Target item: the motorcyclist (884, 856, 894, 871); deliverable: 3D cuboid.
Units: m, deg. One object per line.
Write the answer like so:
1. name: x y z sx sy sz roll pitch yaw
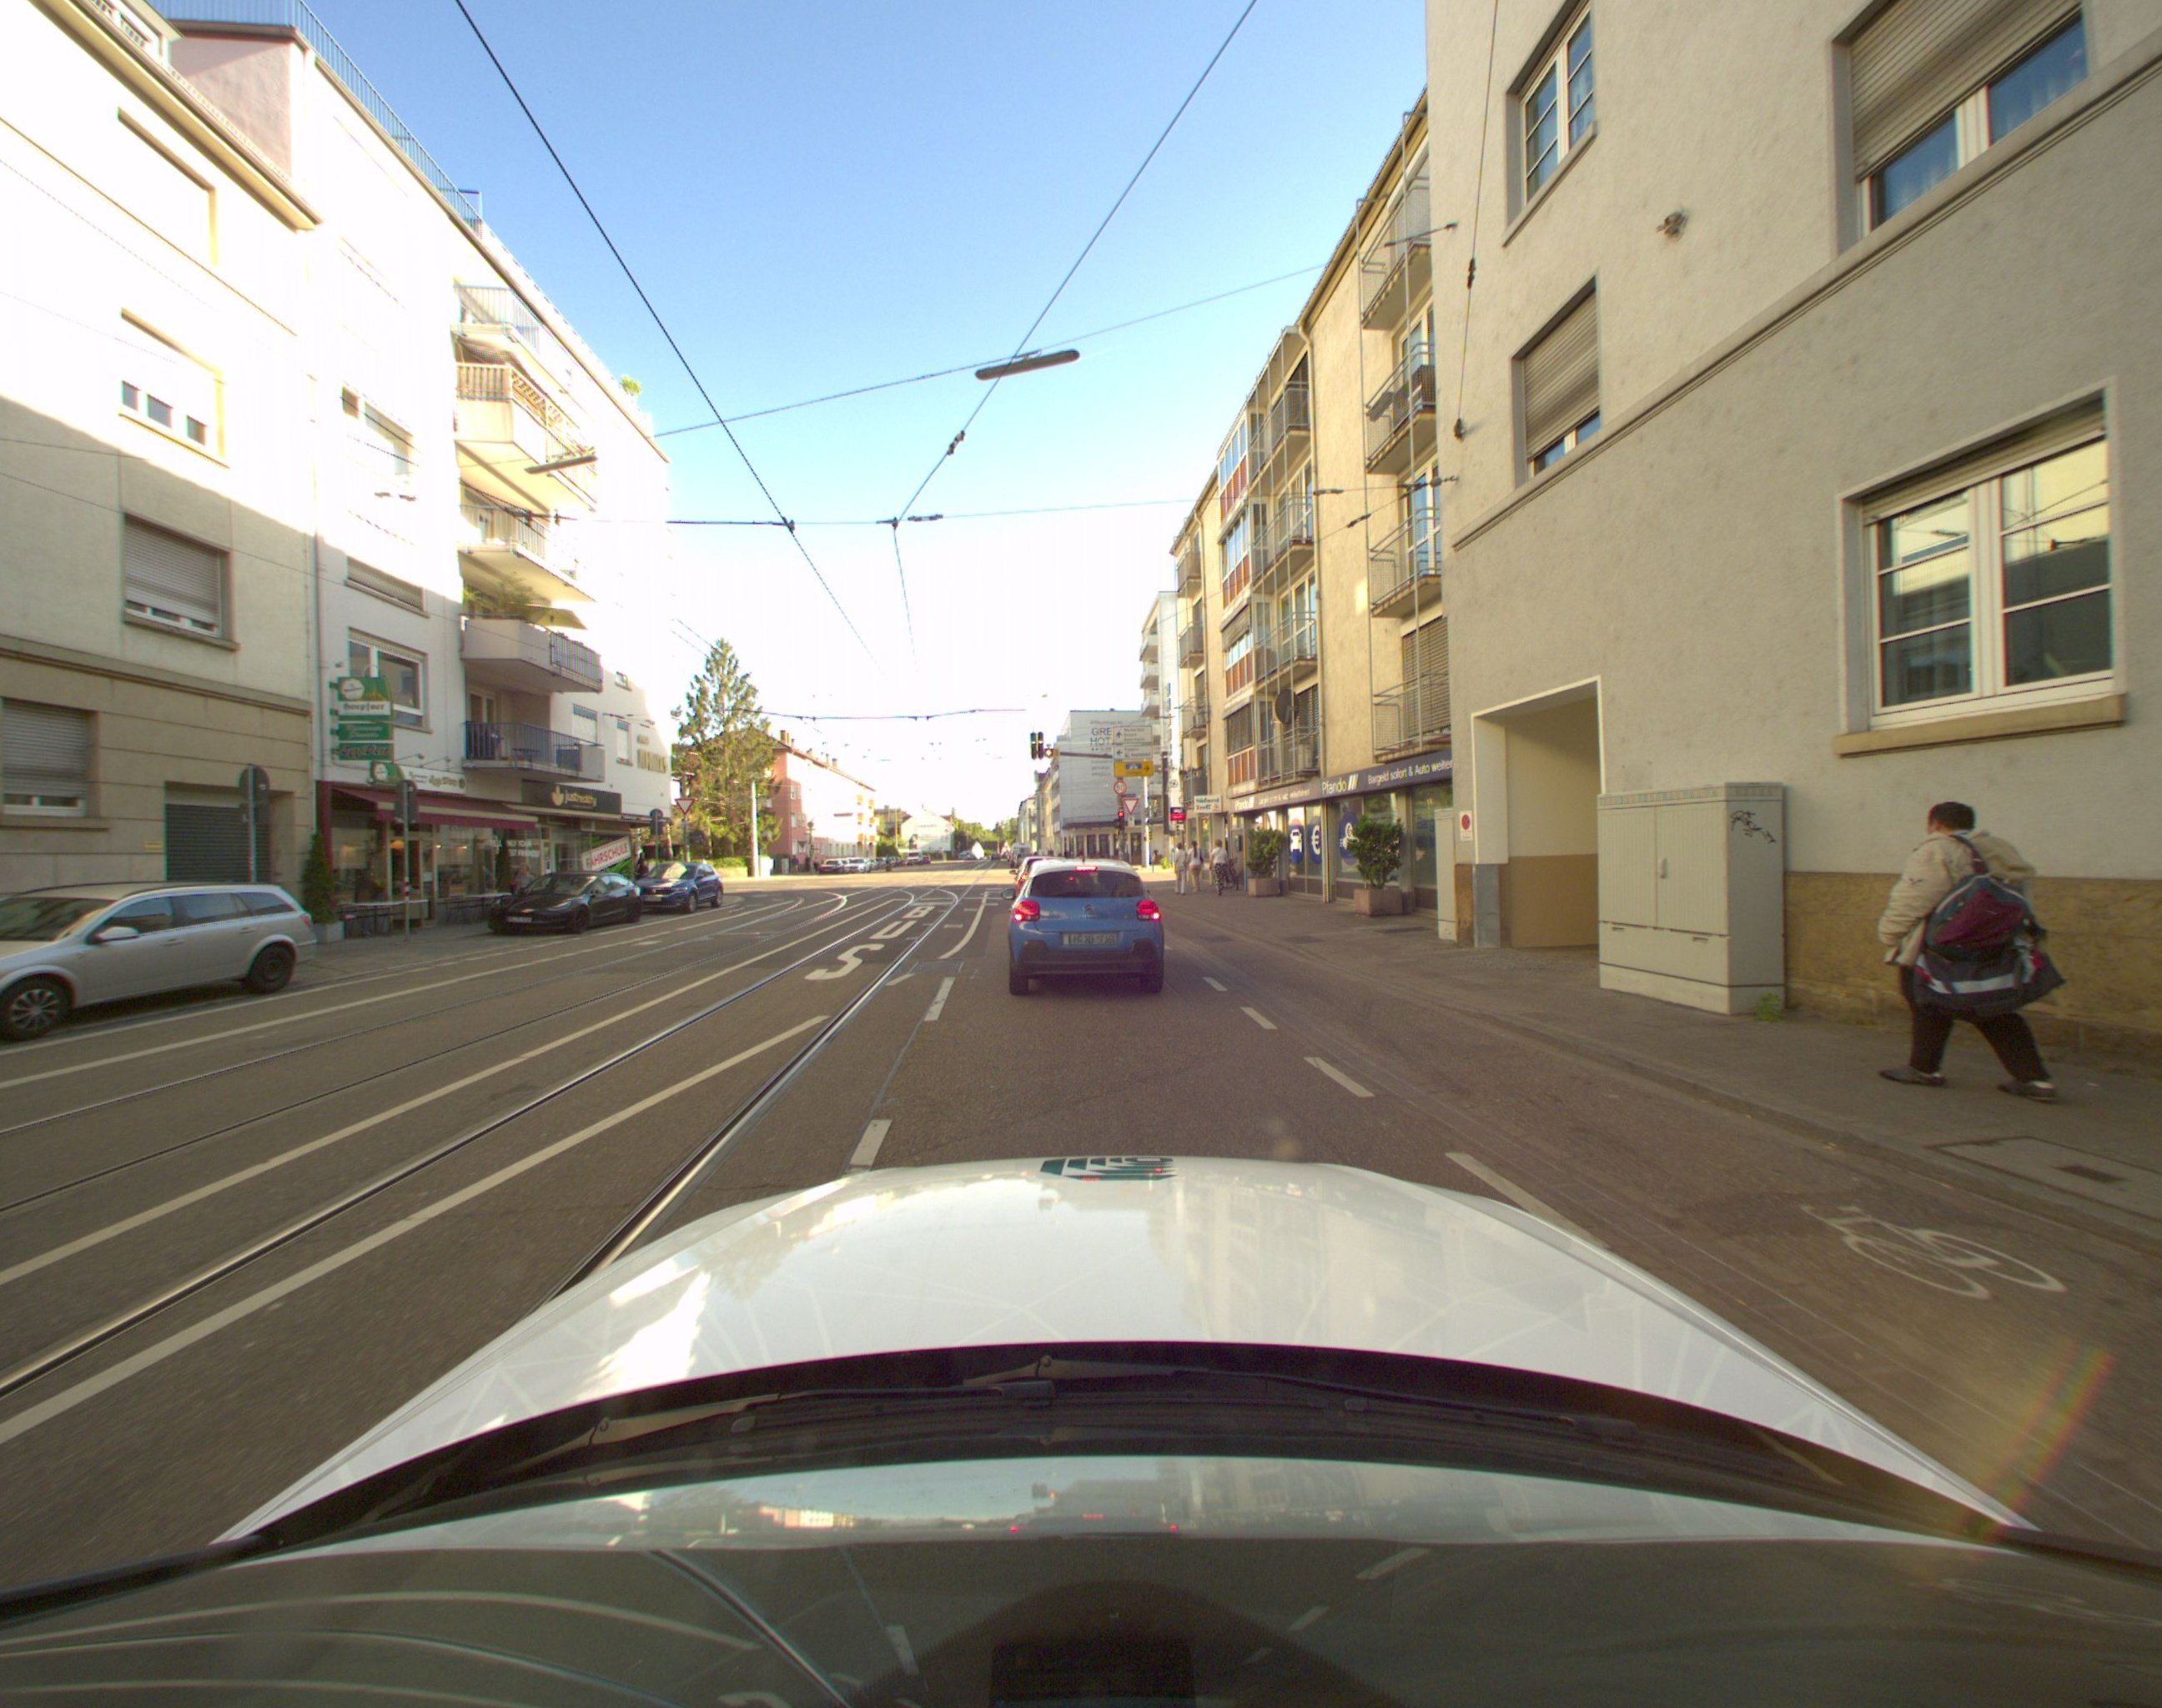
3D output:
1. motorcyclist: -18.121 0.935 77.017 0.717 1.378 0.911 -2 0 -2

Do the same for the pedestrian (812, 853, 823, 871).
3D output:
1. pedestrian: -25.911 0.794 80.134 0.841 1.690 0.737 -1 0 0

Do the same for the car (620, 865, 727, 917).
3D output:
1. car: -12.846 1.117 25.940 1.742 1.509 3.991 0 -1 -6

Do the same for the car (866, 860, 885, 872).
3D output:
1. car: -27.014 1.570 107.146 1.909 1.497 3.991 -2 0 -6

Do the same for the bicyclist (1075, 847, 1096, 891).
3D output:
1. bicyclist: 0.179 0.554 31.040 0.724 1.646 0.789 -2 0 -3

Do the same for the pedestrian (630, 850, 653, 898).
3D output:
1. pedestrian: -18.908 0.853 35.063 0.686 2.013 0.485 -1 0 -9

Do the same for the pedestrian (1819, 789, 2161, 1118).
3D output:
1. pedestrian: 4.802 0.472 4.370 0.823 1.534 0.868 -3 0 -4

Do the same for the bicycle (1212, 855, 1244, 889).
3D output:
1. bicycle: 4.808 0.572 26.701 0.529 1.072 1.807 -2 0 -6

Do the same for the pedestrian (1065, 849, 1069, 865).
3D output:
1. pedestrian: -1.414 0.267 80.841 0.284 1.556 0.304 -2 0 -11

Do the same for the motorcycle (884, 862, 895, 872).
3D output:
1. motorcycle: -18.129 1.223 77.171 0.614 0.864 1.669 -2 0 -2

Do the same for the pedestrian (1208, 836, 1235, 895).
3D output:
1. pedestrian: 4.116 0.336 23.898 0.540 1.672 0.649 -3 0 -4

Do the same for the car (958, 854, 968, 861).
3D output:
1. car: -25.910 0.785 178.960 2.019 1.525 3.991 -1 0 -6

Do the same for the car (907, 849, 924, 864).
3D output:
1. car: -26.143 0.445 128.803 2.204 2.251 4.667 -2 0 -6

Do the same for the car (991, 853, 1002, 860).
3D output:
1. car: -15.867 0.528 152.414 1.755 1.259 3.820 -1 0 -9

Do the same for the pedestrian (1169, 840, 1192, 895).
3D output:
1. pedestrian: 3.120 0.403 25.521 0.540 1.672 0.623 -3 2 -4

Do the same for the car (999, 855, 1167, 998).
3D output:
1. car: 0.066 0.751 10.437 1.737 1.462 4.001 0 0 1

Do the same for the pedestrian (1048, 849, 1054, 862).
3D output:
1. pedestrian: -3.495 0.175 95.187 0.492 1.556 0.645 -2 0 -10

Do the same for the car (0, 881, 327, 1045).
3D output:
1. car: -11.569 1.123 9.536 1.697 1.509 4.377 0 -1 -6

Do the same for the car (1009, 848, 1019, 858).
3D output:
1. car: -11.620 -0.180 141.843 1.686 1.618 3.993 -1 0 -5

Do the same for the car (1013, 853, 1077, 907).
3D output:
1. car: -1.059 0.715 24.277 1.734 1.420 3.996 -1 0 -2

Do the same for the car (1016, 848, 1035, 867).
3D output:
1. car: -5.364 0.322 78.031 1.730 1.750 3.207 -1 0 -5

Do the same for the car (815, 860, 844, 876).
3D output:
1. car: -24.166 1.345 78.370 1.910 1.433 3.989 -2 0 -8

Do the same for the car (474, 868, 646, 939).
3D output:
1. car: -12.522 1.117 19.935 1.696 1.509 4.304 0 -1 -5

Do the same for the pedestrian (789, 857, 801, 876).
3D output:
1. pedestrian: -26.037 1.112 74.161 0.841 1.690 0.737 -1 0 0

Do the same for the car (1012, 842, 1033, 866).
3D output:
1. car: -5.988 -0.001 82.919 1.991 2.325 3.992 -1 0 -5

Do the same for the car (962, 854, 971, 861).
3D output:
1. car: -27.520 0.813 196.278 2.019 1.525 3.991 -2 0 -6

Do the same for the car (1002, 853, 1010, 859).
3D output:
1. car: -23.440 0.522 254.414 1.989 1.794 3.996 -1 0 -2

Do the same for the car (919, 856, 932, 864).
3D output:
1. car: -29.359 1.130 154.035 2.019 1.525 3.991 -1 0 -6

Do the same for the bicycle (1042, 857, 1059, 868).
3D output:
1. bicycle: -2.876 0.782 76.612 1.499 0.957 0.701 -2 0 -1

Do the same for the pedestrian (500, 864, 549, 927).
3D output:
1. pedestrian: -14.247 1.049 20.865 0.696 1.548 0.721 -2 1 -2

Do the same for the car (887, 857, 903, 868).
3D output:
1. car: -28.715 1.345 125.566 1.868 1.574 3.992 -1 0 -6

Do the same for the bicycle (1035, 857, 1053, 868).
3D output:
1. bicycle: -3.582 0.800 78.997 1.715 0.957 0.701 -2 0 -1

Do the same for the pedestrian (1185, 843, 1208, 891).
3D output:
1. pedestrian: 3.803 0.414 26.872 0.540 1.507 0.610 -3 2 -4

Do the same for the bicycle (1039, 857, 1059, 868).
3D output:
1. bicycle: -3.007 0.786 77.665 1.868 0.957 0.701 -2 0 -1

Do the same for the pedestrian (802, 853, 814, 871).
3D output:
1. pedestrian: -26.783 0.803 79.983 0.841 1.690 0.737 -1 0 0

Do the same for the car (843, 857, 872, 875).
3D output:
1. car: -21.192 1.129 77.419 1.846 1.574 4.394 -1 0 -4
